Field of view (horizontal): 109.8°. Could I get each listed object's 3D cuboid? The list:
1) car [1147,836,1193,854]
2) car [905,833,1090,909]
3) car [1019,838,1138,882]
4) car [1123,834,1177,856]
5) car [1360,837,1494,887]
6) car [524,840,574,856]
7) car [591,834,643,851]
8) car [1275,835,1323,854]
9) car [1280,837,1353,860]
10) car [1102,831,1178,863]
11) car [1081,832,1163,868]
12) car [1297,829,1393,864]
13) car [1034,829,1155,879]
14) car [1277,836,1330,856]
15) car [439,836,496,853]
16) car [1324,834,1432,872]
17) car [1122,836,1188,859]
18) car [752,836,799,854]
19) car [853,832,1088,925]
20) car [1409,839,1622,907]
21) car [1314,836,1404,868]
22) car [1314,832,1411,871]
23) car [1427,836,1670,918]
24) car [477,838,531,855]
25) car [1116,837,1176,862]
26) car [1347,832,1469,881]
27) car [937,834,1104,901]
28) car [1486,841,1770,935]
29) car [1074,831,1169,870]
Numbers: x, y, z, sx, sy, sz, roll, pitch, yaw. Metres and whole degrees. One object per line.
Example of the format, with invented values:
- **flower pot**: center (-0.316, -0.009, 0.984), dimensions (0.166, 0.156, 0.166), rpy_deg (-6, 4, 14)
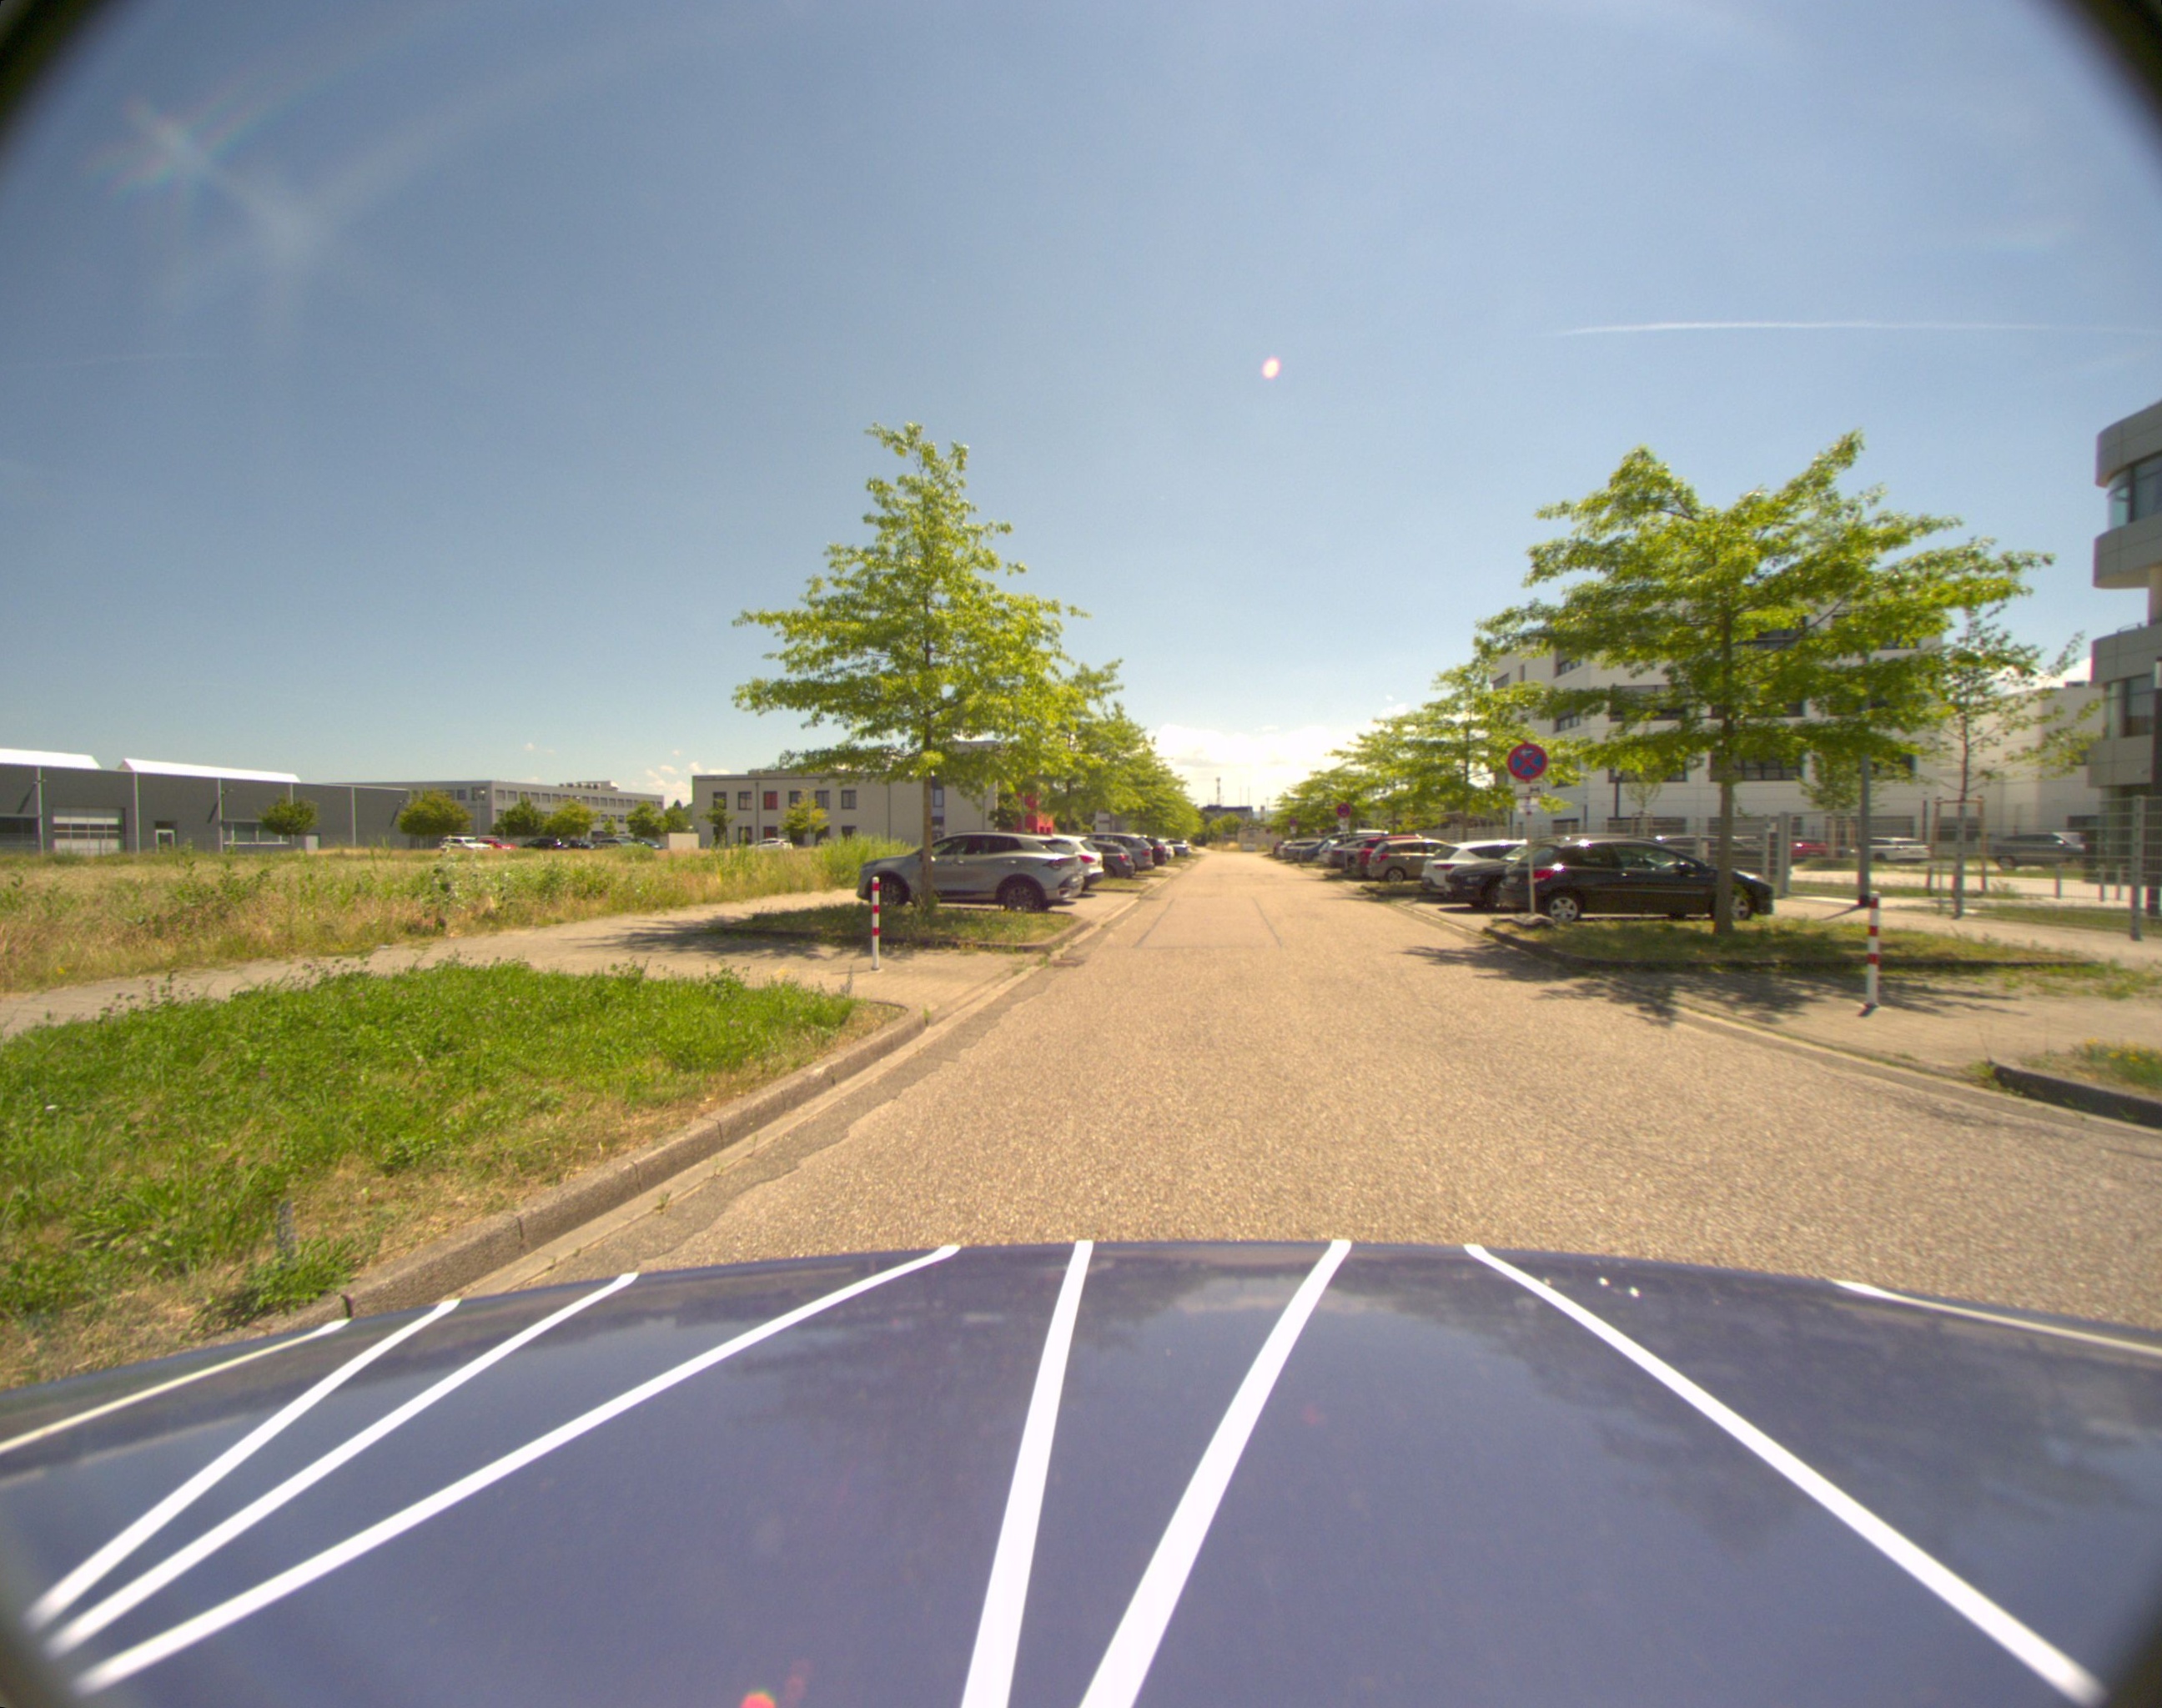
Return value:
- **car**: center (7.933, -0.787, 67.581), dimensions (3.839, 1.544, 1.781), rpy_deg (1, 1, 15)
- **car**: center (-1.922, 0.346, 18.027), dimensions (3.994, 1.635, 1.839), rpy_deg (1, 2, 10)
- **car**: center (-0.056, 0.193, 27.012), dimensions (3.929, 1.402, 1.910), rpy_deg (1, 3, 10)
- **car**: center (5.553, -0.739, 61.051), dimensions (4.053, 1.616, 1.694), rpy_deg (2, 2, 11)
- **car**: center (11.338, 0.251, 25.136), dimensions (3.664, 1.500, 1.732), rpy_deg (-2, 1, 7)
- **car**: center (-52.873, -0.611, 75.499), dimensions (3.993, 1.501, 1.720), rpy_deg (1, 2, 10)
- **car**: center (-43.616, -1.098, 71.456), dimensions (3.994, 1.501, 1.720), rpy_deg (1, 2, 9)
- **car**: center (19.457, -0.871, 67.886), dimensions (3.846, 1.583, 1.728), rpy_deg (-2, 1, 8)
- **car**: center (16.725, -0.413, 54.054), dimensions (4.721, 1.439, 1.858), rpy_deg (-2, 1, 9)
- **car**: center (3.669, -0.442, 47.002), dimensions (4.410, 1.820, 1.797), rpy_deg (2, 2, 11)
- **car**: center (2.099, -0.245, 38.297), dimensions (3.881, 1.668, 1.783), rpy_deg (2, 2, 11)
- **car**: center (15.423, -0.429, 44.615), dimensions (5.078, 1.881, 1.998), rpy_deg (-1, 1, 12)
- **car**: center (0.578, -0.043, 29.524), dimensions (4.457, 1.758, 1.994), rpy_deg (1, 2, 8)
- **car**: center (19.041, -0.660, 65.186), dimensions (4.179, 1.504, 1.809), rpy_deg (-2, 0, 12)
- **car**: center (-54.837, -0.874, 67.950), dimensions (3.993, 1.444, 1.720), rpy_deg (1, 2, 10)
- **car**: center (13.074, -0.065, 33.678), dimensions (4.200, 1.472, 1.714), rpy_deg (-2, 1, 11)
- **car**: center (5.464, -0.495, 55.785), dimensions (4.725, 1.552, 1.914), rpy_deg (2, 2, 7)
- **car**: center (-26.616, -0.786, 66.202), dimensions (3.328, 1.501, 1.720), rpy_deg (1, 2, 10)
- **car**: center (-2.153, 0.419, 15.331), dimensions (4.286, 1.635, 1.852), rpy_deg (2, 2, 11)
- **car**: center (10.400, 0.431, 18.469), dimensions (4.083, 1.416, 1.874), rpy_deg (-2, 1, 7)
- **car**: center (14.103, -0.113, 38.690), dimensions (4.045, 1.452, 1.605), rpy_deg (-2, 1, 8)
- **car**: center (13.389, -0.147, 36.371), dimensions (3.995, 1.669, 1.777), rpy_deg (-2, 1, 6)
- **car**: center (9.601, 0.455, 15.919), dimensions (3.934, 1.512, 1.786), rpy_deg (-2, 2, 10)
- **car**: center (-53.595, -0.705, 70.585), dimensions (3.993, 1.501, 1.720), rpy_deg (1, 2, 10)
- **car**: center (4.255, -0.326, 49.384), dimensions (3.637, 1.495, 1.677), rpy_deg (2, 2, 11)
- **car**: center (11.808, 0.068, 27.646), dimensions (3.744, 1.612, 1.818), rpy_deg (-2, 1, 11)
- **car**: center (-1.565, 0.304, 20.334), dimensions (4.075, 1.599, 1.902), rpy_deg (1, 3, 11)
- **car**: center (9.339, 0.556, 13.266), dimensions (3.632, 1.427, 1.727), rpy_deg (-2, 1, 10)
- **car**: center (1.911, -0.182, 35.448), dimensions (4.180, 1.687, 1.783), rpy_deg (2, 2, 9)
